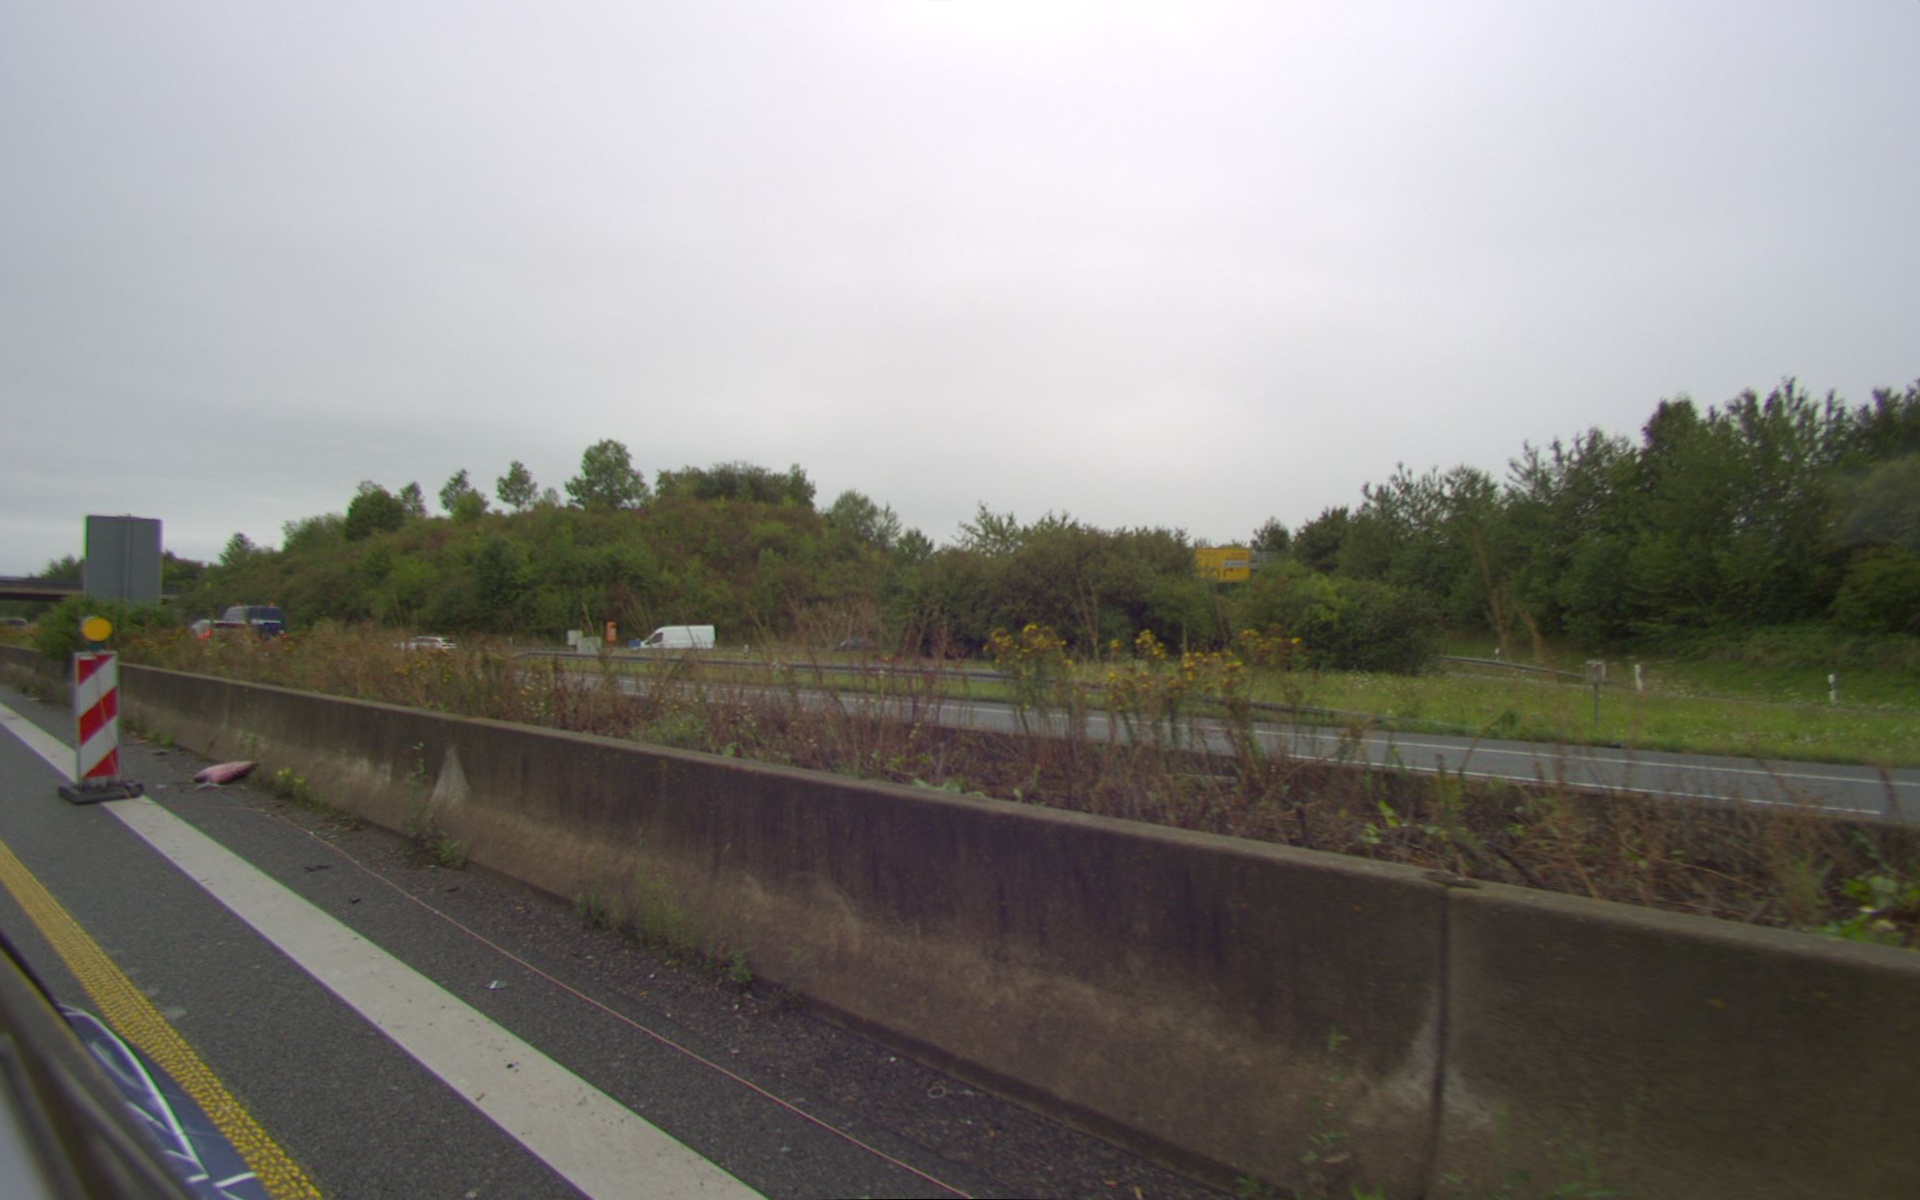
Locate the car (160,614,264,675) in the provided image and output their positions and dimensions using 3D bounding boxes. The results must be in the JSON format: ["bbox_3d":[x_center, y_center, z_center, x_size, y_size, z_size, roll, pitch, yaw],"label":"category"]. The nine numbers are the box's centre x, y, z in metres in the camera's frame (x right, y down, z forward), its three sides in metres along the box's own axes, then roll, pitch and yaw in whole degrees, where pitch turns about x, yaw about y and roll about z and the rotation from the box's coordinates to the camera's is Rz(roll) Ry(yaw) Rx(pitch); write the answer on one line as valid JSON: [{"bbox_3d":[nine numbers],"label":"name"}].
[{"bbox_3d":[-26.828,1.573,36.266,3.996,2.029,1.974,0,-4,39],"label":"car"}]

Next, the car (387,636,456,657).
[{"bbox_3d":[-37.789,3.248,71.082,3.956,1.414,1.914,0,-2,10],"label":"car"}]

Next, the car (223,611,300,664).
[{"bbox_3d":[-36.724,1.885,53.157,5.846,2.629,2.029,0,0,42],"label":"car"}]

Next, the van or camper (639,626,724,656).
[{"bbox_3d":[-19.981,2.925,72.538,5.747,2.029,2.006,1,-2,-16],"label":"van or camper"}]

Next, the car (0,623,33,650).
[{"bbox_3d":[-73.548,2.805,78.665,5.253,2.029,1.748,-1,-3,43],"label":"car"}]

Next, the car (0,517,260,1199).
[{"bbox_3d":[-4.130,0.711,3.413,3.998,1.774,1.972,-2,-3,41],"label":"car"}]

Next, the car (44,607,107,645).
[{"bbox_3d":[-48.654,1.393,55.656,4.669,1.973,1.973,0,0,41],"label":"car"}]
